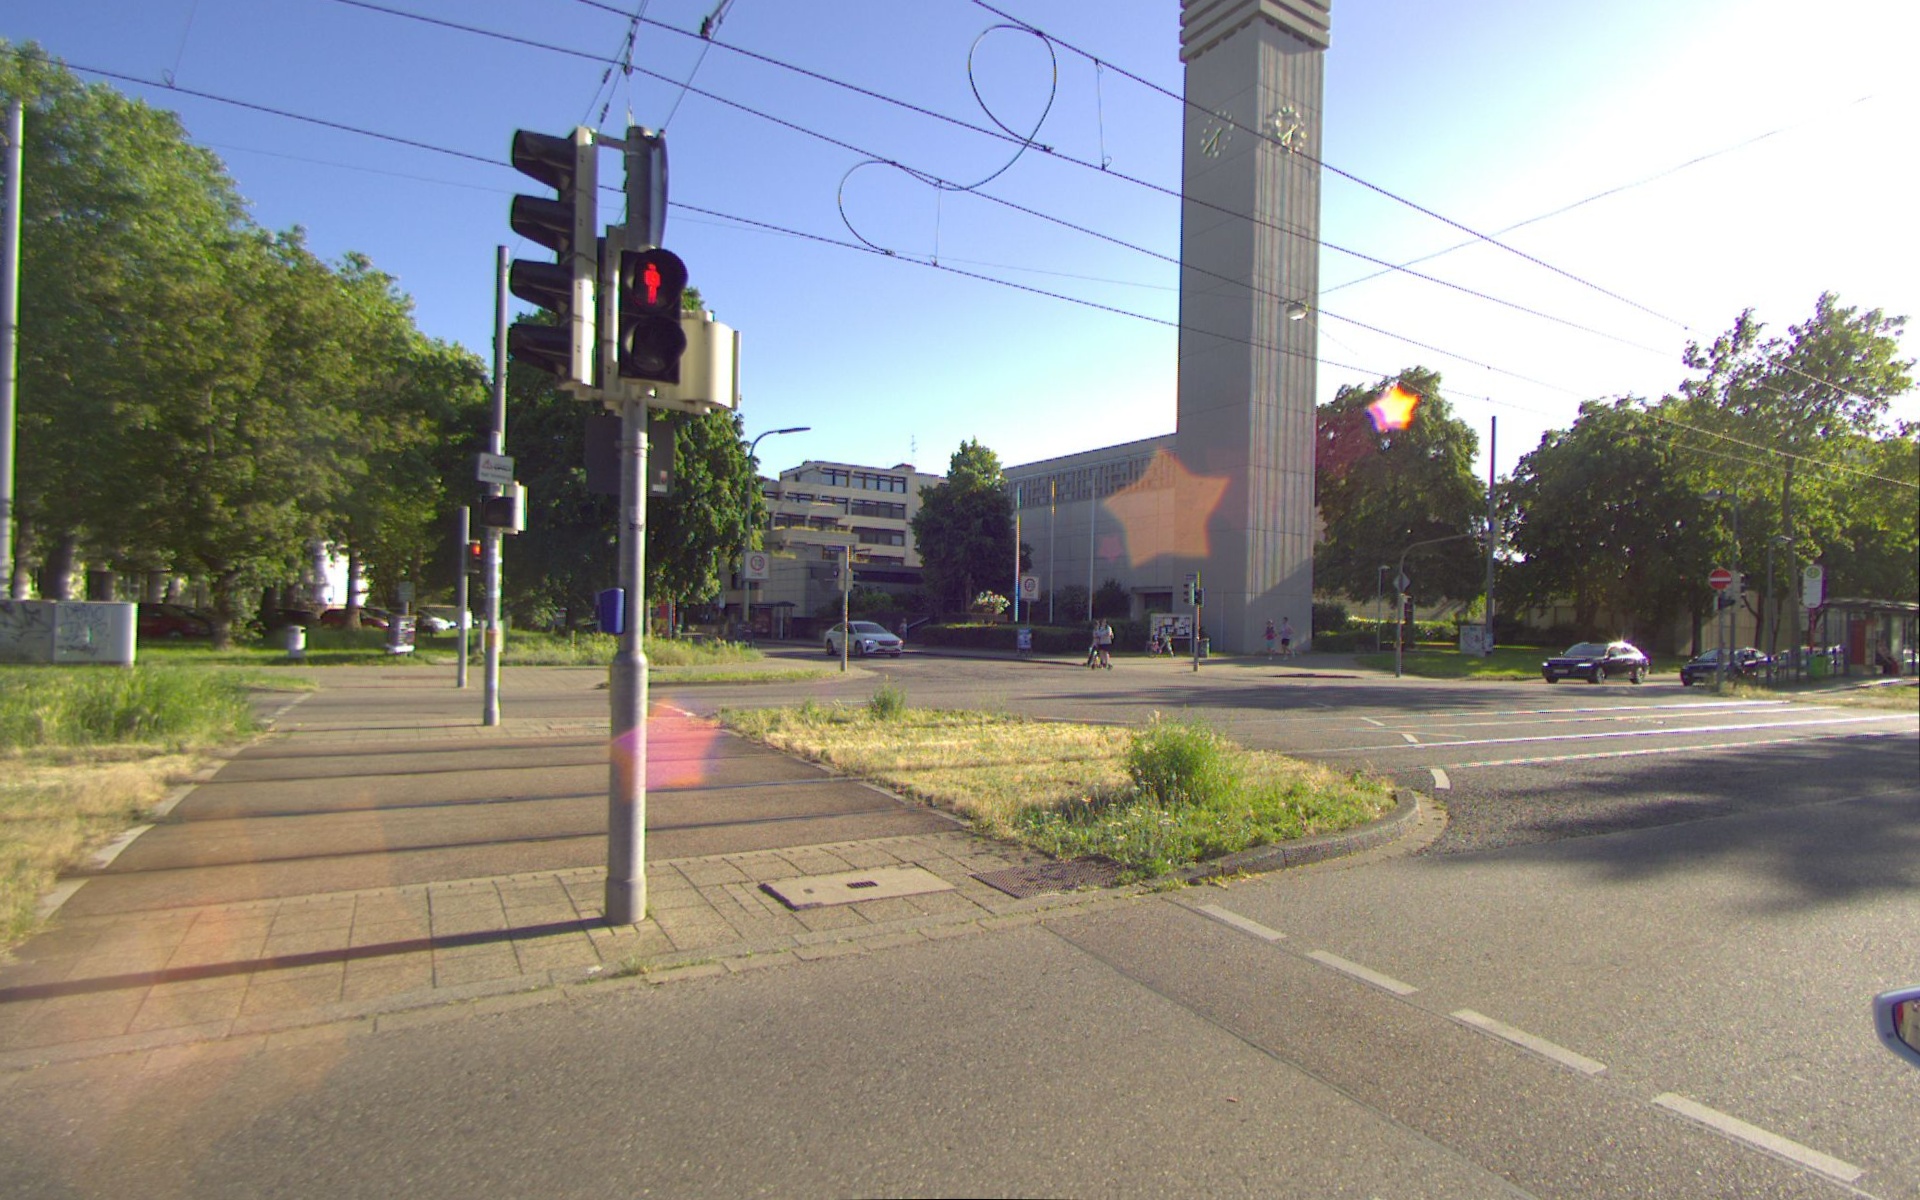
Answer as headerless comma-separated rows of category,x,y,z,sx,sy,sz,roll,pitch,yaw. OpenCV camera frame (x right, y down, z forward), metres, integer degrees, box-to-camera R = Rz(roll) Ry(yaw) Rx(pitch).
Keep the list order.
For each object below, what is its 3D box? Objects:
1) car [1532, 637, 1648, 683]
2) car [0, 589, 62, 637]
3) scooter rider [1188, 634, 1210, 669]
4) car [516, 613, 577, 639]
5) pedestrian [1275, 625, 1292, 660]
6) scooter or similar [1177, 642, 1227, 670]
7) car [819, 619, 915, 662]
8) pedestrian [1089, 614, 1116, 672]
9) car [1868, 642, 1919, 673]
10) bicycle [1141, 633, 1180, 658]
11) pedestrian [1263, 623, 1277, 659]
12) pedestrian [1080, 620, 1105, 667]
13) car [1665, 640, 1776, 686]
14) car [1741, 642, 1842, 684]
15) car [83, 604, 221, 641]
car,23.075,2.186,36.770,4.309,1.553,1.798,2,-1,-30
car,-35.216,0.475,36.704,1.718,1.706,3.992,1,-1,-11
scooter rider,8.681,1.857,36.502,0.520,1.234,0.584,4,2,45
car,-30.382,1.915,73.762,3.952,1.795,1.660,2,-1,-29
pedestrian,14.337,1.870,44.490,0.483,1.527,0.433,2,2,-33
scooter or similar,8.765,2.024,36.467,0.560,0.911,1.717,2,-1,-44
car,-3.984,1.675,42.210,1.980,1.420,4.672,2,1,-34
pedestrian,4.898,1.490,34.575,0.735,1.941,0.417,2,1,-20
car,52.772,3.201,56.413,3.373,1.584,1.614,2,1,-30
bicycle,8.868,2.024,44.480,1.659,1.060,0.490,2,1,-23
pedestrian,13.878,1.851,44.990,0.302,1.581,0.433,2,2,-33
pedestrian,4.879,1.610,36.940,0.734,1.689,0.442,2,1,-19
car,27.712,2.283,36.572,4.309,1.553,1.679,2,-1,-30
car,32.934,2.476,39.760,4.309,1.553,1.679,2,-1,-30
car,-32.058,0.890,39.975,3.931,1.400,1.581,1,-1,-13
